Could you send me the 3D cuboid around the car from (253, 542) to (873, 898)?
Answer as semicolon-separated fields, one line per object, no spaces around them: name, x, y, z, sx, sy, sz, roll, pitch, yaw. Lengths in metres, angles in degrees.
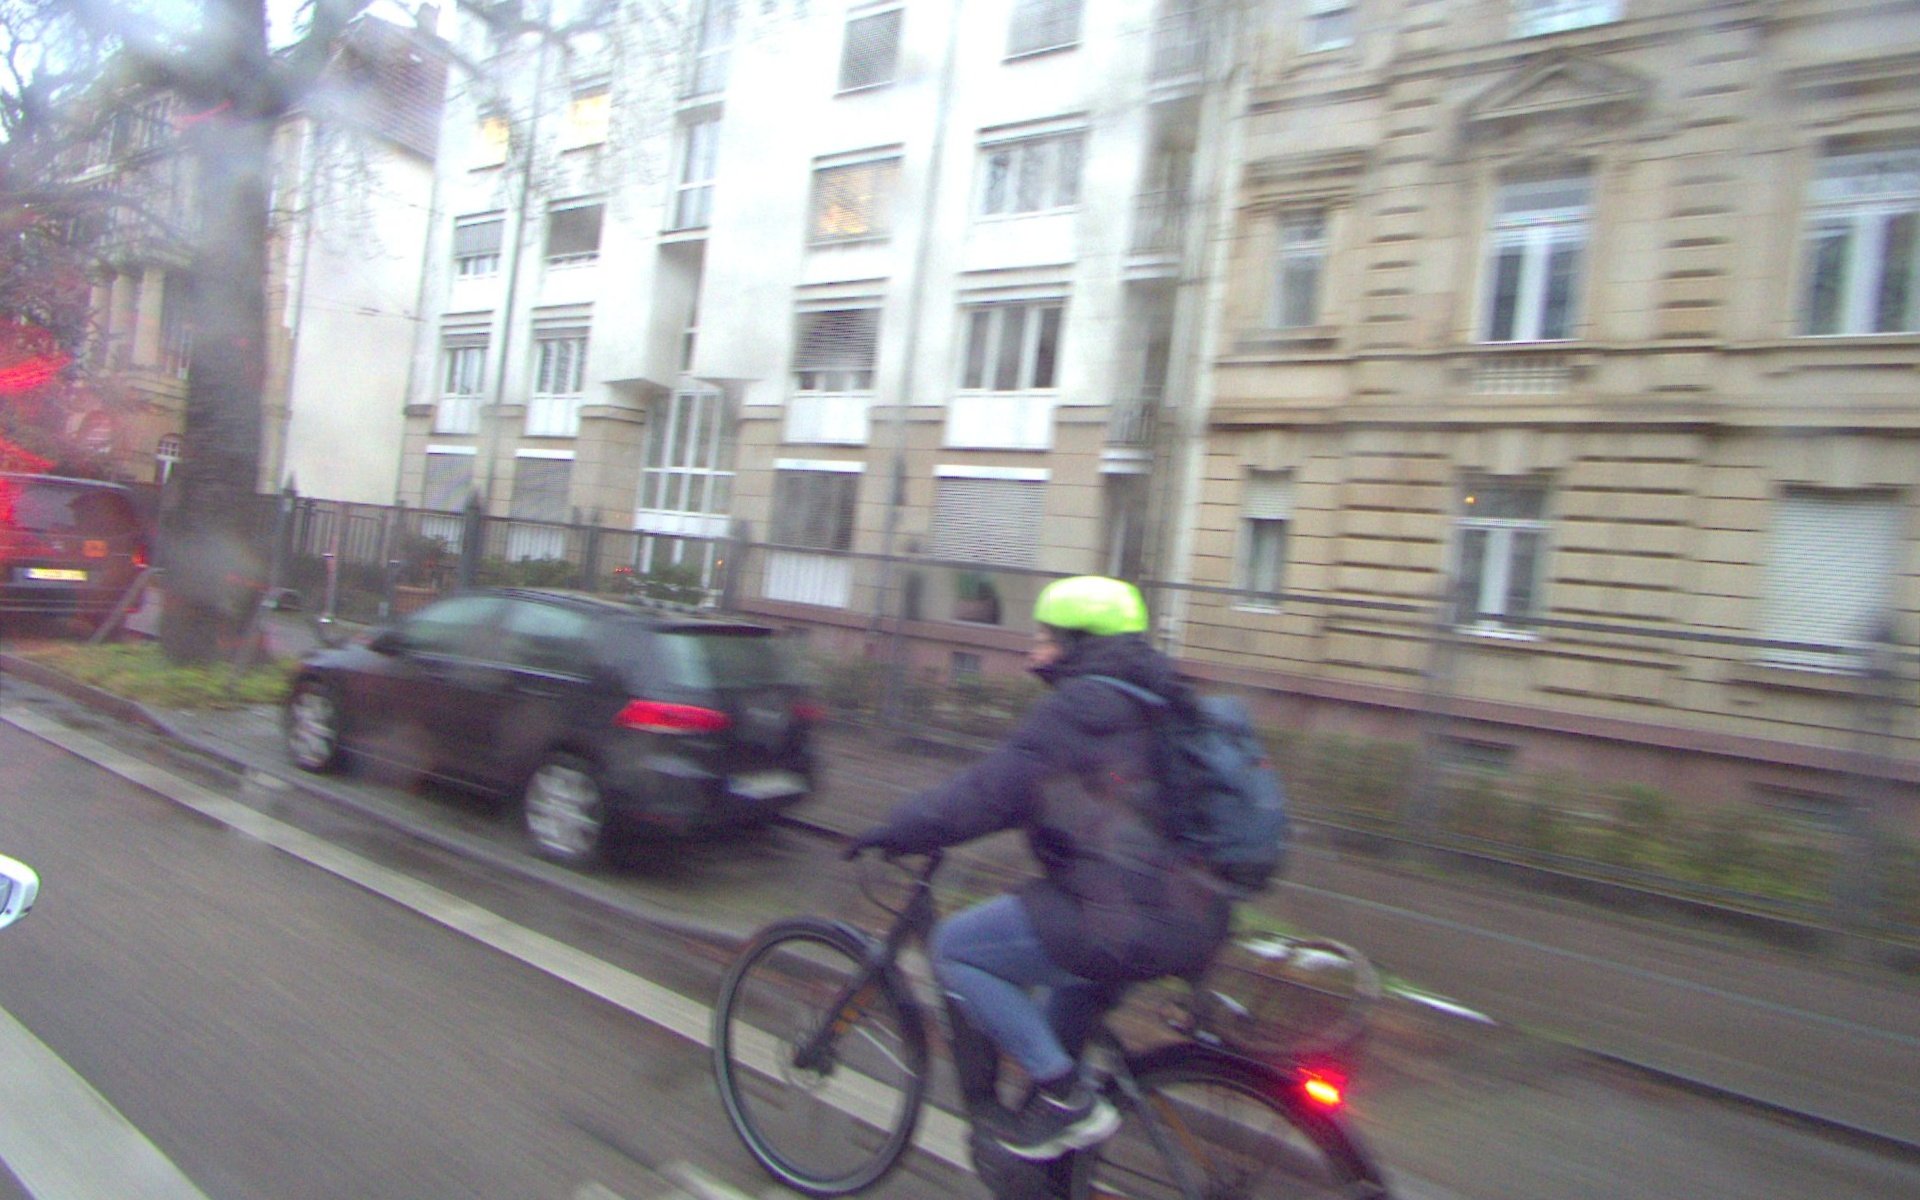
car;-2.754;0.598;6.736;3.974;1.478;1.680;7;0;31

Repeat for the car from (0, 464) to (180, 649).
car;-12.015;-0.716;12.423;4.942;1.924;1.996;8;1;31

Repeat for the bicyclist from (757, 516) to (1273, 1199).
bicyclist;0.136;0.603;2.387;0.836;1.464;0.656;8;1;34

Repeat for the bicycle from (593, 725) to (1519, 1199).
bicycle;0.097;1.037;2.402;1.997;1.110;0.707;8;1;35
